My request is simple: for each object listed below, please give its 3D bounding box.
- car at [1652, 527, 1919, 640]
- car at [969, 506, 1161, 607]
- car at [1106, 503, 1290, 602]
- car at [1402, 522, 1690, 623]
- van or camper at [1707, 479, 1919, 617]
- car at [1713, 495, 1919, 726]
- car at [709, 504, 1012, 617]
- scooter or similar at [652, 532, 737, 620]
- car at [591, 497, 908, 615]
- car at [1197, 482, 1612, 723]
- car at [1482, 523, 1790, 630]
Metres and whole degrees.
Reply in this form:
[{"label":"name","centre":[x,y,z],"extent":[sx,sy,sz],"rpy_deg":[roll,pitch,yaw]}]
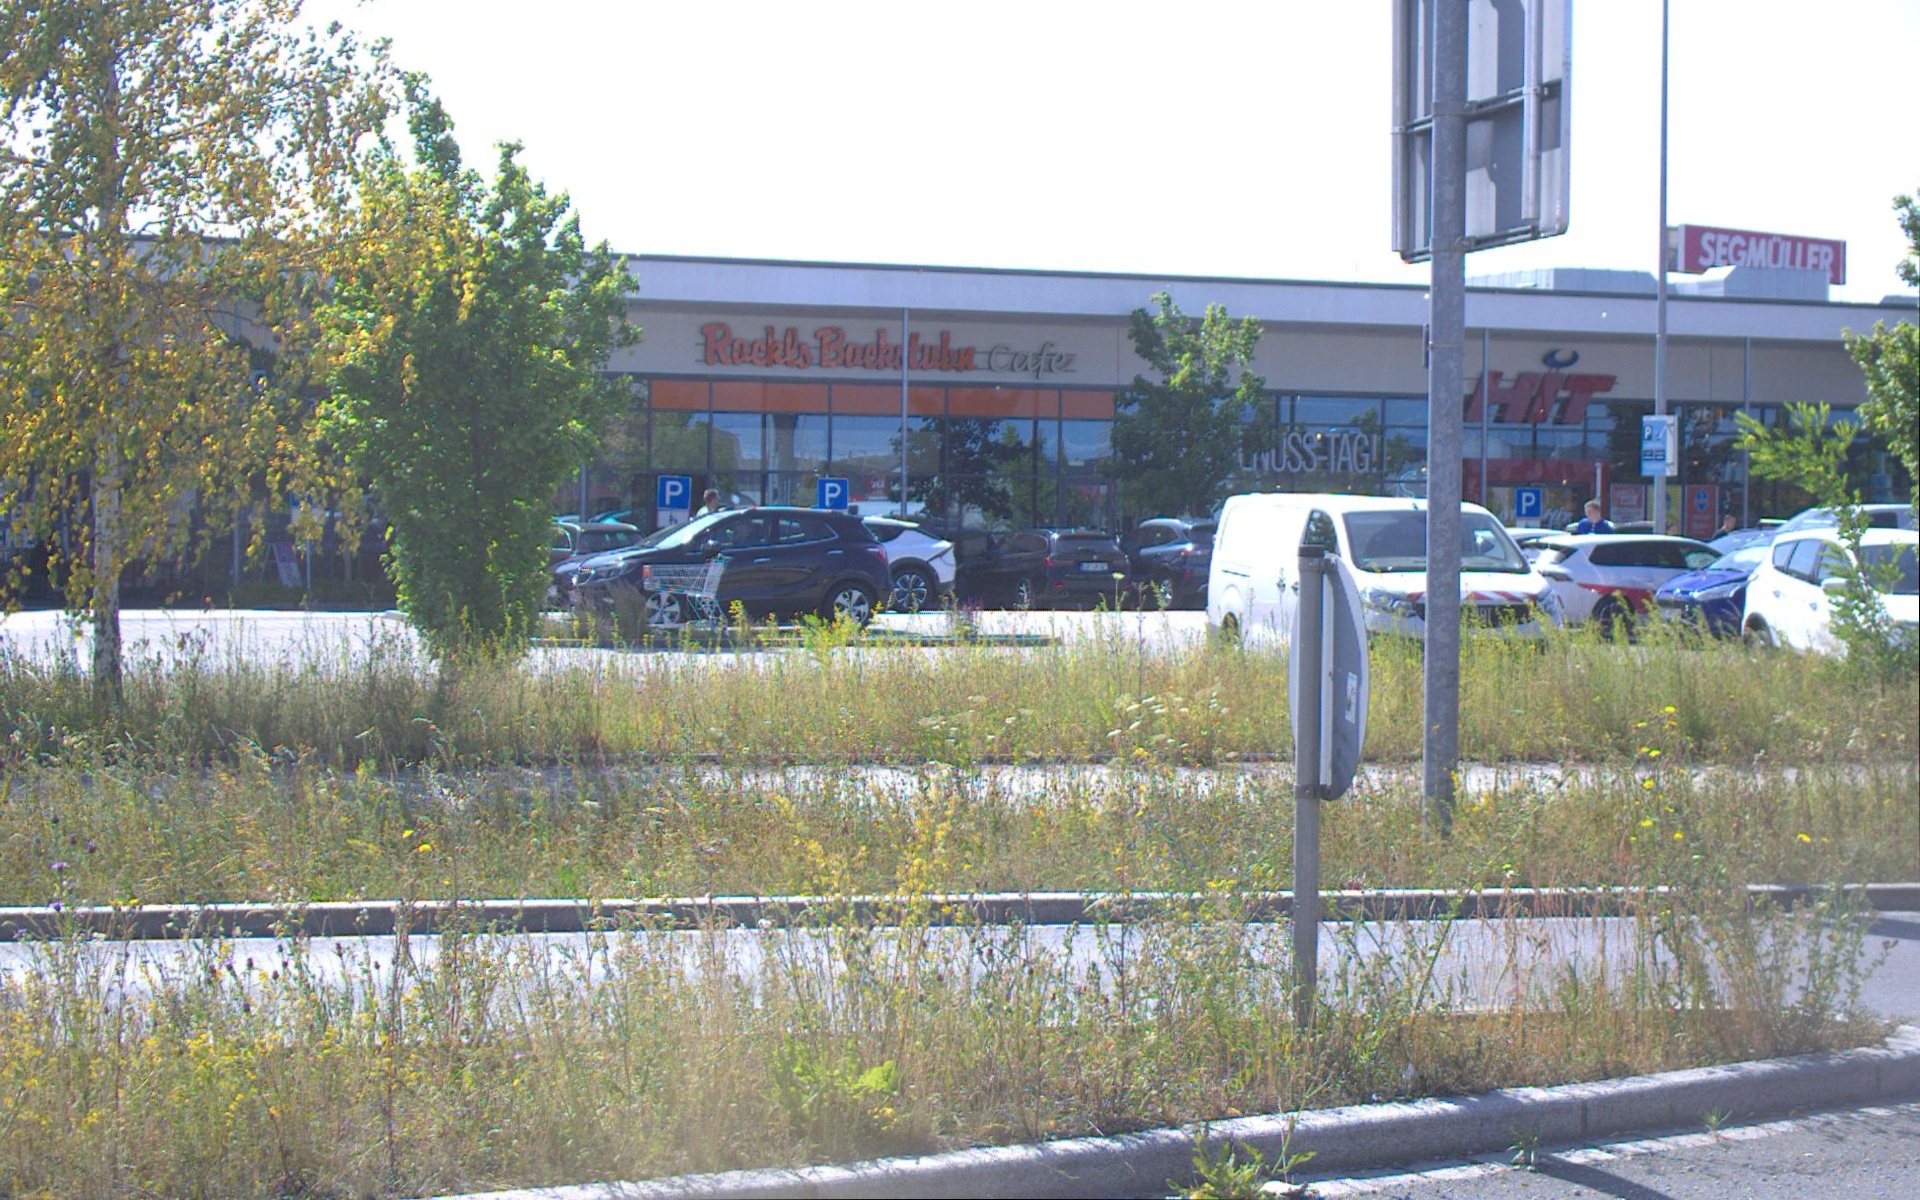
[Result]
[{"label":"car","centre":[10.964,-0.221,44.198],"extent":[3.719,1.386,1.732],"rpy_deg":[0,2,-23]},{"label":"car","centre":[1.819,-0.800,61.029],"extent":[1.993,1.701,4.001],"rpy_deg":[0,2,-21]},{"label":"car","centre":[4.257,-0.882,62.182],"extent":[1.993,1.701,4.002],"rpy_deg":[0,2,-17]},{"label":"car","centre":[8.402,-0.401,49.295],"extent":[3.719,1.386,1.732],"rpy_deg":[0,2,-23]},{"label":"van or camper","centre":[14.014,-0.787,51.779],"extent":[5.033,2.007,2.001],"rpy_deg":[0,2,-18]},{"label":"car","centre":[9.039,0.034,32.549],"extent":[2.157,2.007,5.117],"rpy_deg":[1,2,-6]},{"label":"car","centre":[-1.593,-0.623,54.837],"extent":[4.470,1.700,1.875],"rpy_deg":[1,1,-17]},{"label":"scooter or similar","centre":[-3.336,-0.303,43.096],"extent":[0.943,1.075,0.652],"rpy_deg":[0,2,-16]},{"label":"car","centre":[-2.768,-0.579,45.063],"extent":[3.792,1.503,1.732],"rpy_deg":[0,2,-20]},{"label":"car","centre":[3.928,-0.046,31.488],"extent":[2.080,2.007,5.230],"rpy_deg":[1,2,-13]},{"label":"car","centre":[9.108,-0.325,46.331],"extent":[3.719,1.386,1.732],"rpy_deg":[0,2,-23]}]
